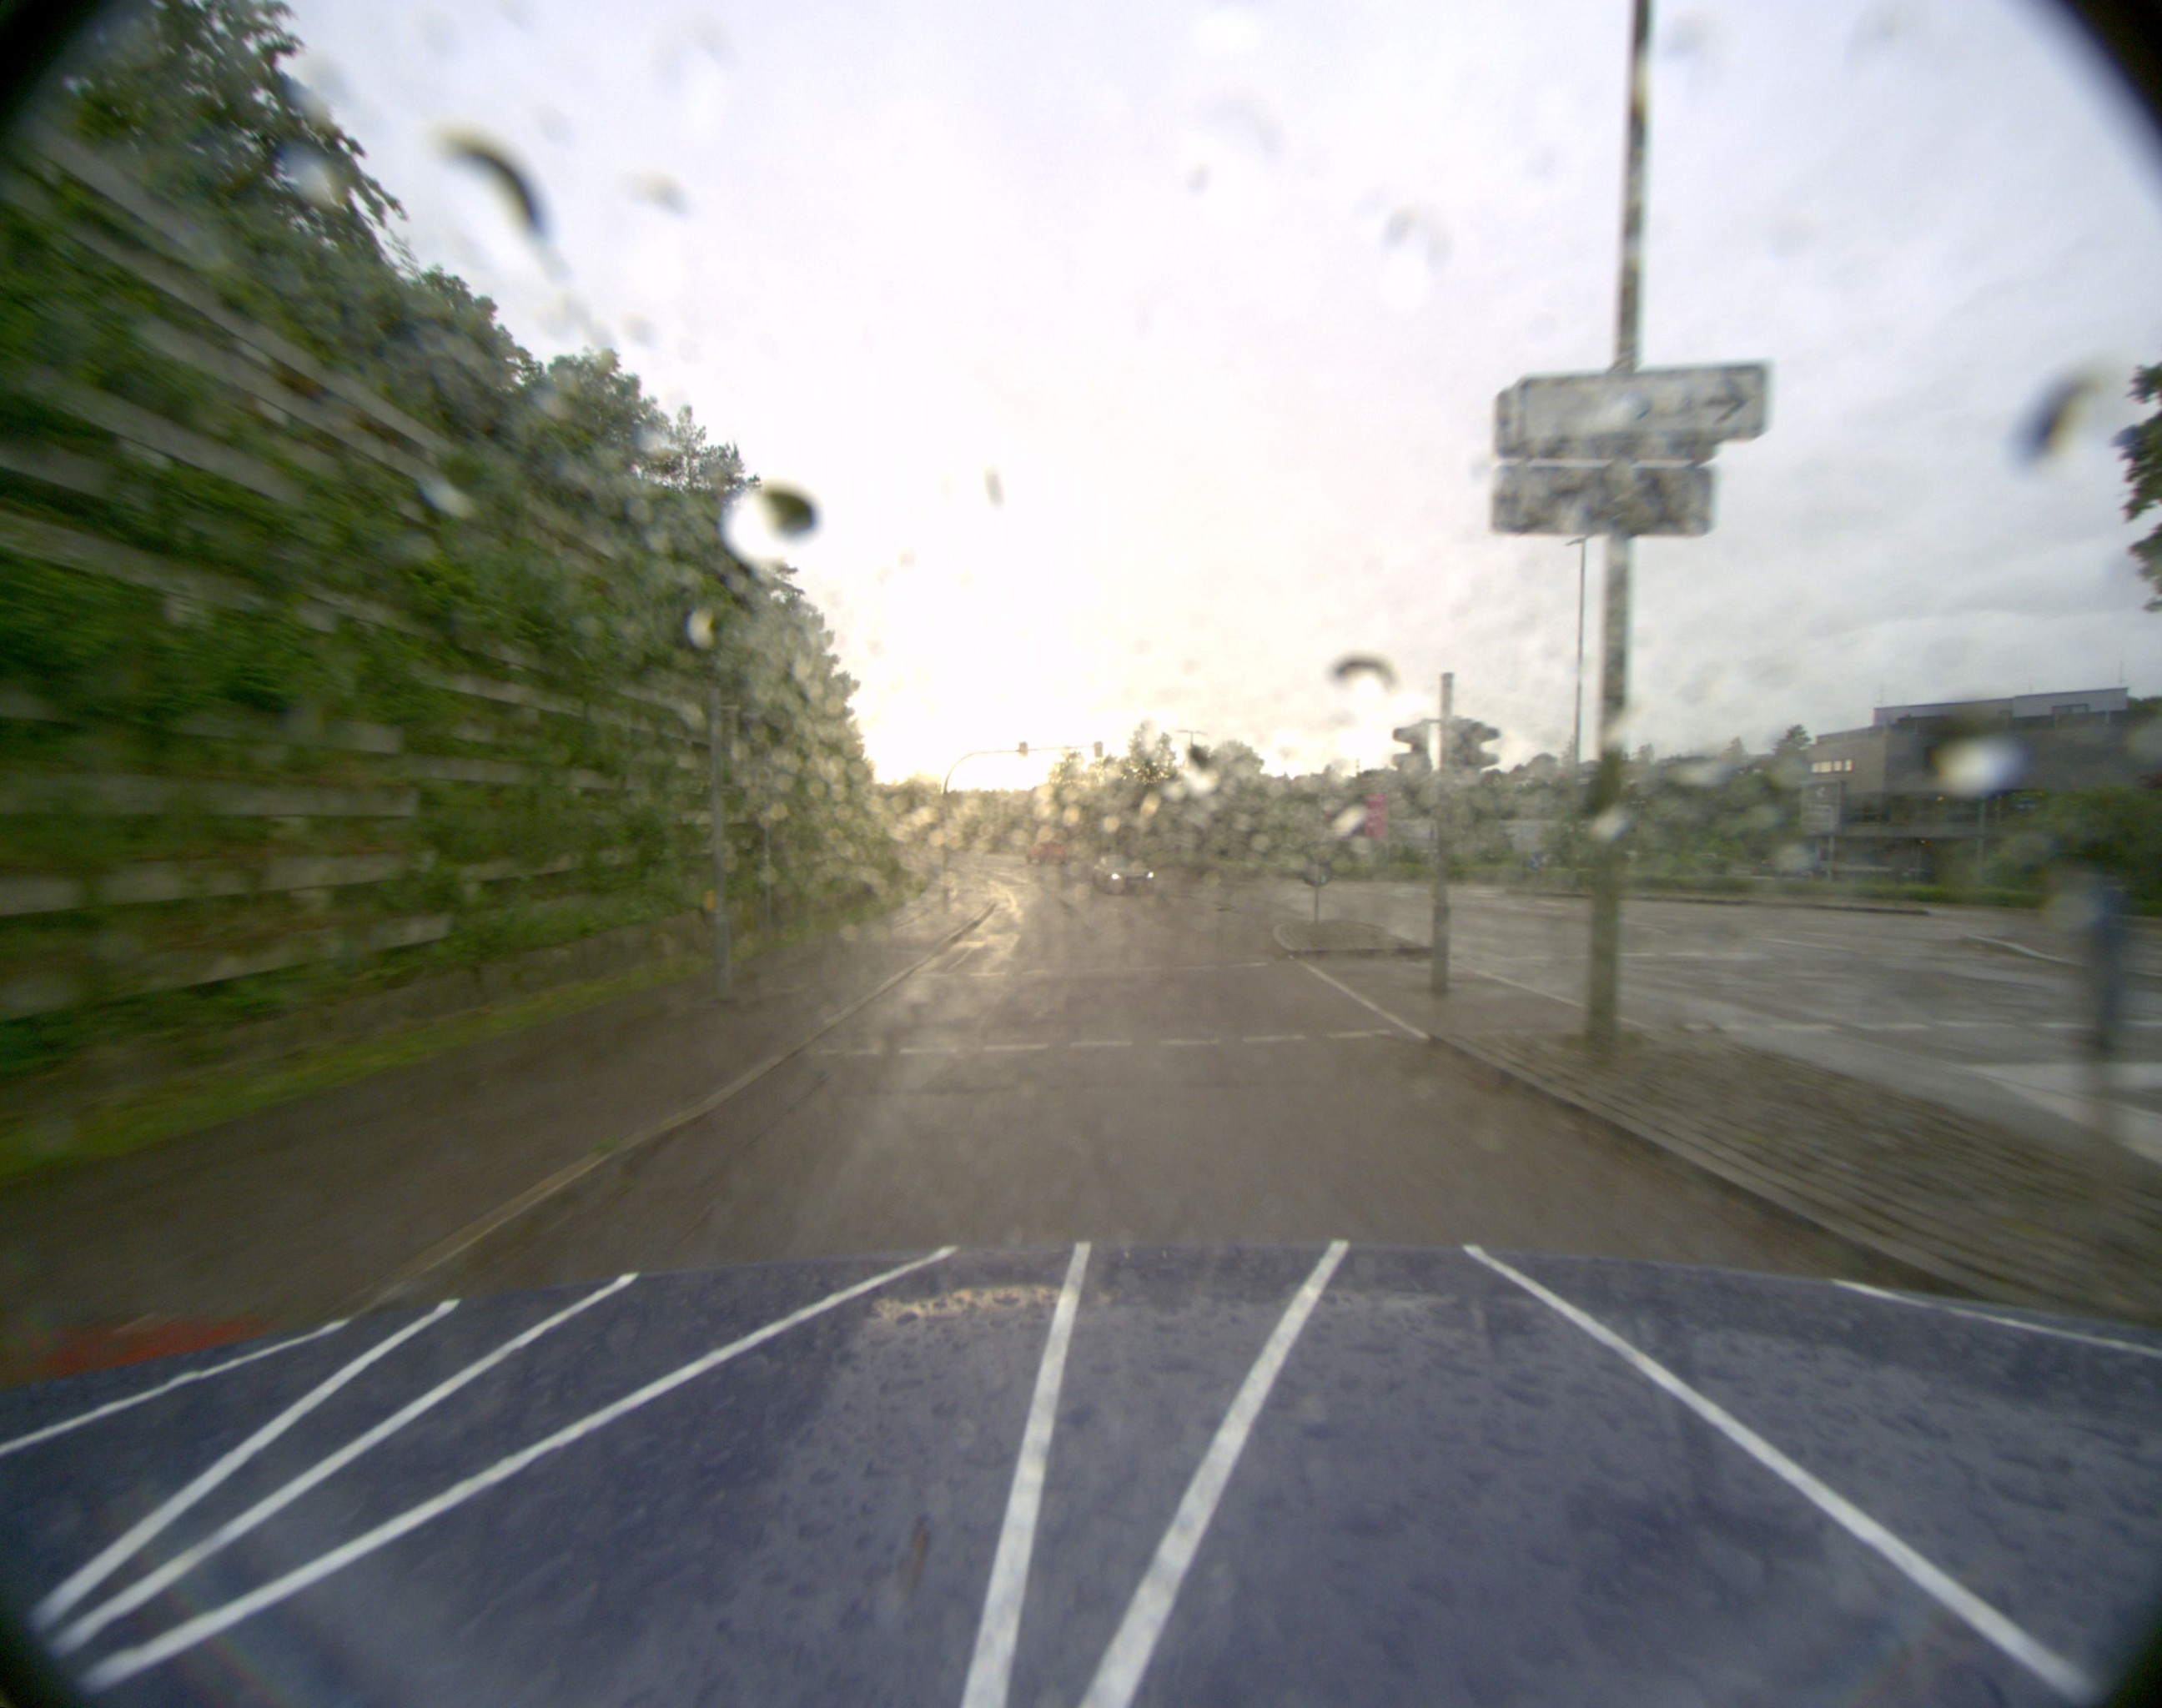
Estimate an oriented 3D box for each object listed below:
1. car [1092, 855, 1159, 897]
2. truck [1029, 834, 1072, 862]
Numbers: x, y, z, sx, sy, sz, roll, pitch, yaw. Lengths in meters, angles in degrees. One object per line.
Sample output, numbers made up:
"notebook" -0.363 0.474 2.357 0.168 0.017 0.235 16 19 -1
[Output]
"car" 1.681 0.809 30.099 1.760 1.388 3.995 -2 2 -10
"truck" -2.432 -0.507 59.204 2.001 2.003 5.328 -2 2 -17
